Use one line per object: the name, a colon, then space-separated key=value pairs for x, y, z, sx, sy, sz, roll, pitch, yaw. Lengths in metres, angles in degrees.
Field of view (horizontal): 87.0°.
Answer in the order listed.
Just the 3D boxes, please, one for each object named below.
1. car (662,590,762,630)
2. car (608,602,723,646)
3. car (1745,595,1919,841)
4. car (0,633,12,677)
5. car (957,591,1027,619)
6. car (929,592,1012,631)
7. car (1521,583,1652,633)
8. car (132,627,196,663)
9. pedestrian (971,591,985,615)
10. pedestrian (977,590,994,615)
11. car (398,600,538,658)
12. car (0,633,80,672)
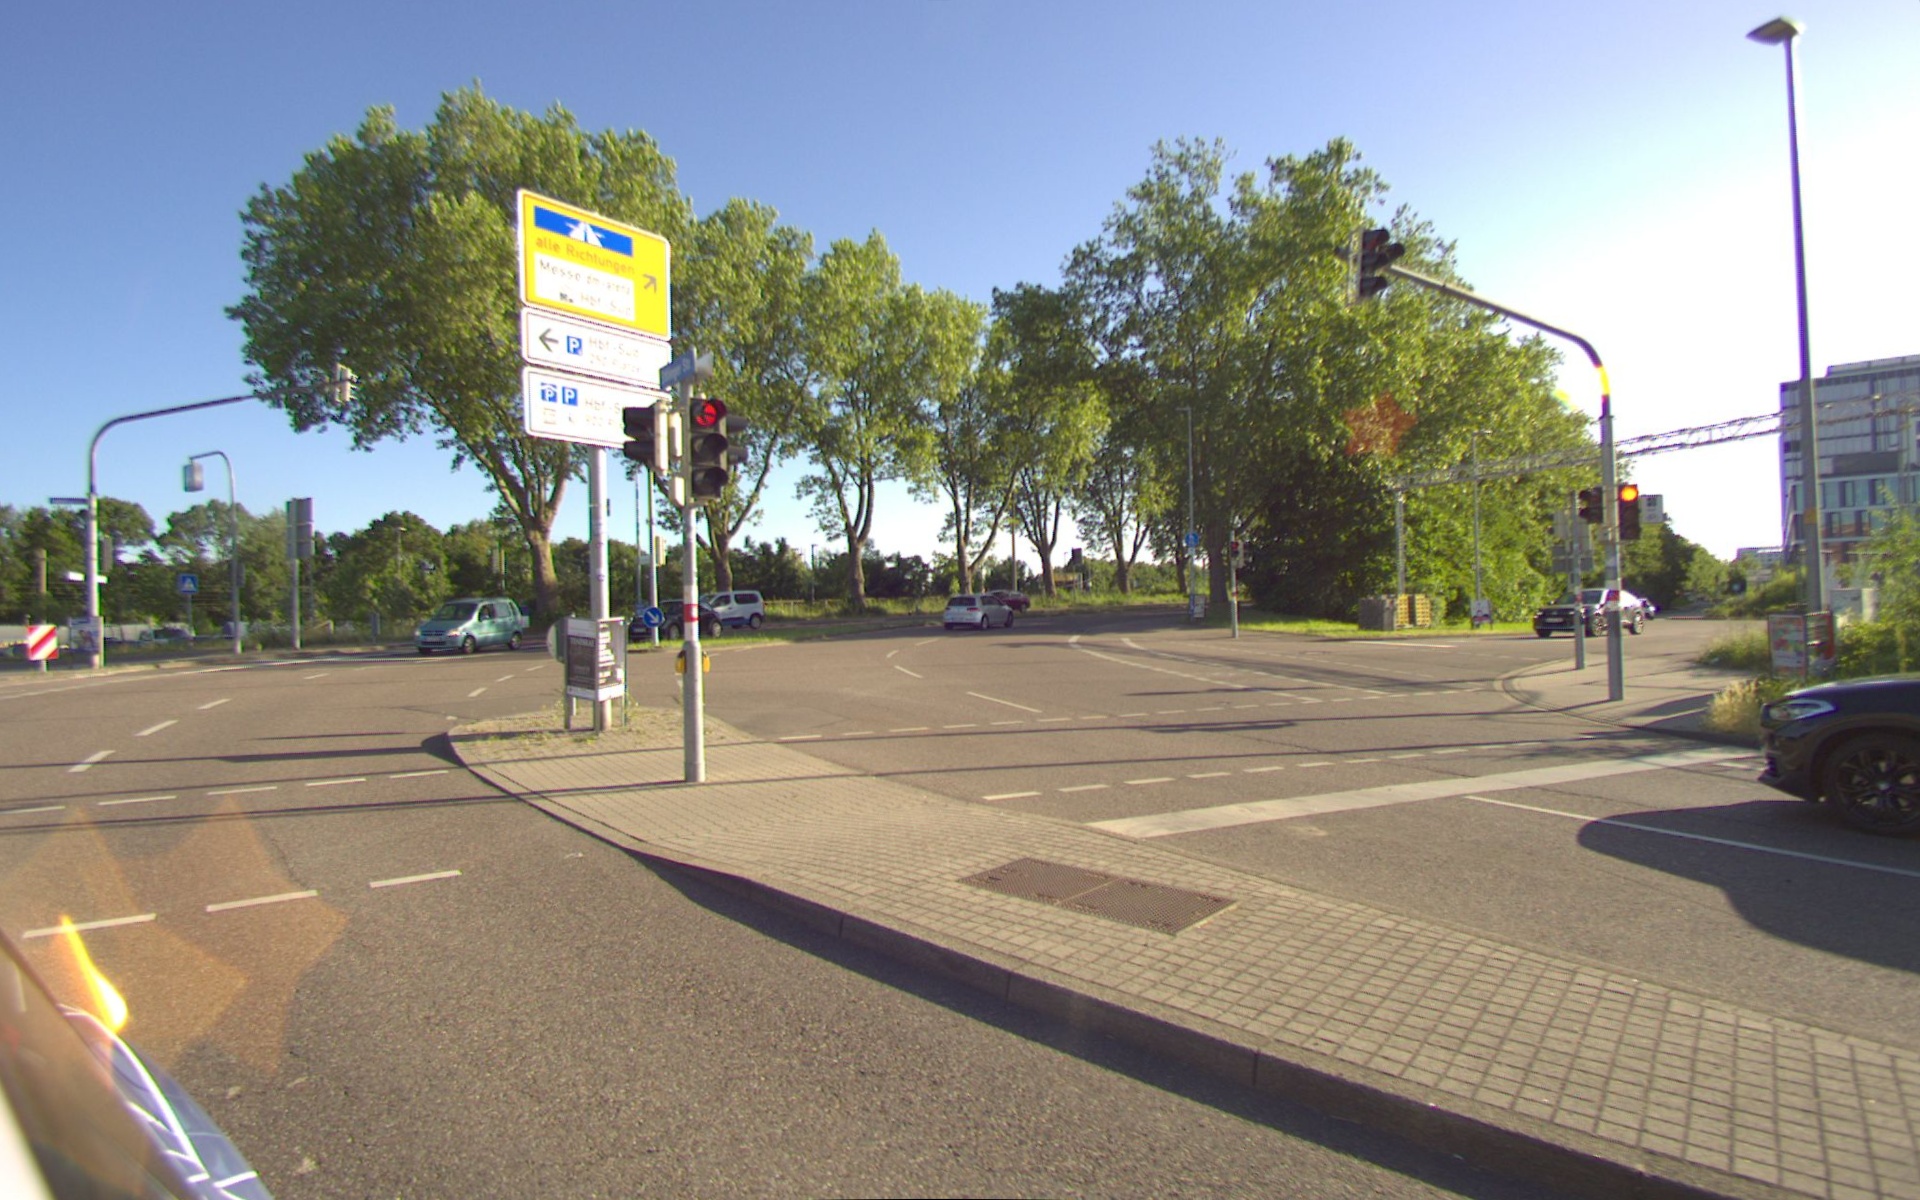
car: x=-11.561 y=0.451 z=47.363 sx=1.860 sy=1.756 sz=4.205 roll=-2 pitch=-1 yaw=44
car: x=-10.258 y=0.816 z=35.548 sx=1.895 sy=1.438 sz=3.910 roll=-1 pitch=0 yaw=21
car: x=7.501 y=0.712 z=5.783 sx=1.924 sy=1.529 sz=4.397 roll=0 pitch=-1 yaw=-36
car: x=-39.835 y=2.225 z=39.862 sx=3.963 sy=1.696 sz=1.832 roll=-2 pitch=0 yaw=16
car: x=1.976 y=0.298 z=62.059 sx=1.861 sy=1.611 sz=4.262 roll=-2 pitch=0 yaw=45
car: x=0.476 y=0.451 z=41.331 sx=1.965 sy=1.438 sz=3.904 roll=-2 pitch=0 yaw=24
car: x=20.142 y=0.243 z=32.549 sx=3.931 sy=1.488 sz=1.759 roll=-2 pitch=0 yaw=-27
car: x=-45.168 y=2.514 z=57.383 sx=5.027 sy=1.852 sz=2.168 roll=-2 pitch=-1 yaw=44
pedestrian: x=1.225 y=0.196 z=67.731 sx=0.665 sy=1.598 sz=0.622 roll=-2 pitch=-1 yaw=43
pedestrian: x=1.671 y=0.146 z=67.028 sx=0.730 sy=1.604 sz=0.793 roll=-2 pitch=-1 yaw=43
car: x=-15.178 y=0.857 z=31.501 sx=1.899 sy=1.648 sz=4.109 roll=-1 pitch=0 yaw=9
car: x=-39.056 y=2.196 z=42.327 sx=3.971 sy=1.470 sz=1.718 roll=-2 pitch=0 yaw=21
